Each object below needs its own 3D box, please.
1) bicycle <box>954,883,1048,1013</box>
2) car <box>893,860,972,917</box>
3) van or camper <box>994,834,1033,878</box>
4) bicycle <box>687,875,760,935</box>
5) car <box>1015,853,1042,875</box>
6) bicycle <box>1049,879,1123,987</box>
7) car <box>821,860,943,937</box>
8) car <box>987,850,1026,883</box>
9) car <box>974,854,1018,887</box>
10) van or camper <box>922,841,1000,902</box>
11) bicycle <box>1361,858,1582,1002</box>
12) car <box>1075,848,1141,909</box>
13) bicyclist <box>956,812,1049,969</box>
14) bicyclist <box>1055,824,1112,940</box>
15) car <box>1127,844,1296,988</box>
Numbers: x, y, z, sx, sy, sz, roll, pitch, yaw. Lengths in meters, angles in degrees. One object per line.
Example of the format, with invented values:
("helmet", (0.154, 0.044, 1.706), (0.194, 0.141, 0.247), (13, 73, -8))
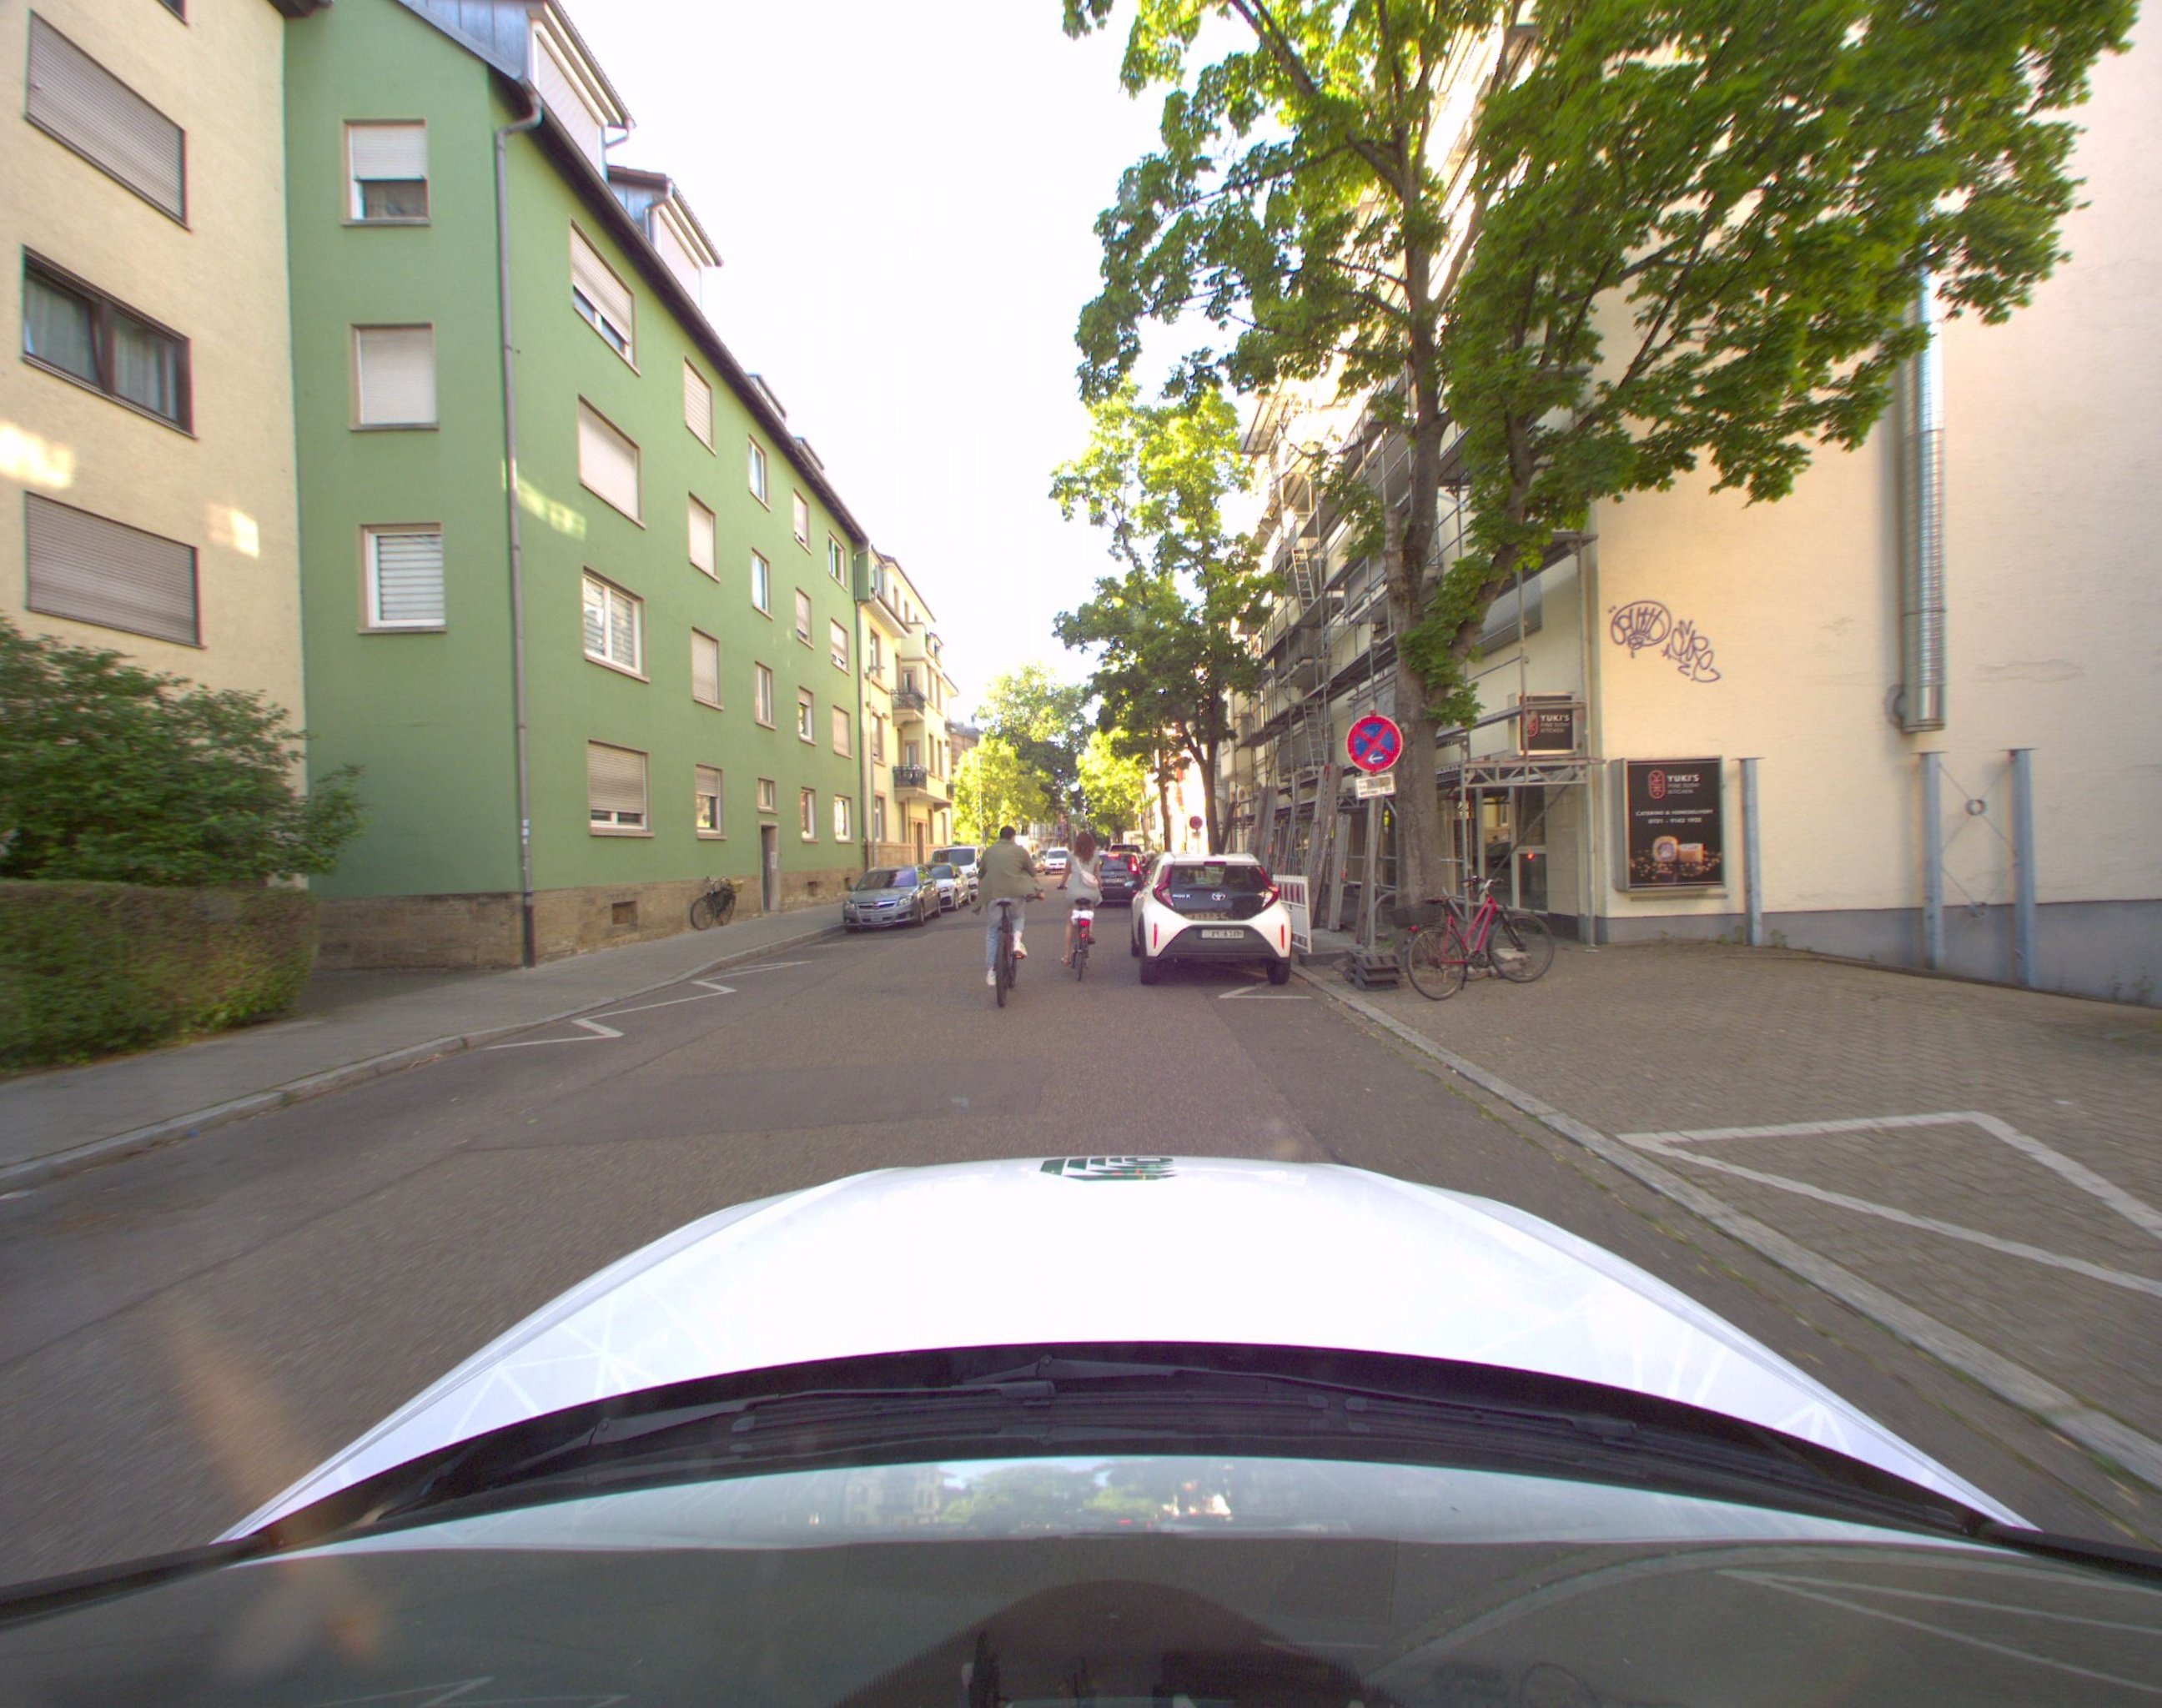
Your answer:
("bicycle", (-0.803, 0.922, 8.778), (0.837, 1.149, 2.230), (-2, -1, -3))
("car", (-4.415, 0.973, 24.677), (1.681, 1.453, 3.709), (-3, 0, -1))
("van or camper", (-4.285, 0.103, 52.278), (1.987, 2.553, 5.022), (-2, 0, 0))
("bicycle", (-7.915, 1.087, 18.150), (0.548, 1.178, 2.279), (1, 0, 2))
("car", (-4.035, 0.720, 63.412), (1.705, 1.560, 4.000), (-2, 0, 1))
("bicycle", (0.021, 0.932, 10.430), (0.837, 1.149, 2.231), (-1, 0, -2))
("car", (-4.643, 0.984, 19.681), (1.974, 1.455, 4.110), (-5, 0, -2))
("car", (-4.180, 0.656, 46.082), (1.705, 1.699, 4.000), (-2, 0, 1))
("car", (-4.244, 0.794, 41.251), (1.705, 1.504, 4.000), (-2, 0, 1))
("van or camper", (-4.420, 0.593, 30.751), (1.986, 2.013, 4.913), (-3, 0, 1))
("bicycle", (3.923, 0.711, 8.186), (1.985, 1.165, 0.722), (-5, 1, -18))
("car", (0.839, 0.643, 23.420), (1.548, 1.533, 3.493), (-2, 0, 7))
("bicyclist", (-0.822, 0.389, 8.722), (0.880, 1.562, 0.867), (-3, -3, -3))
("bicyclist", (0.026, 0.367, 10.324), (0.621, 1.381, 0.867), (-3, -4, -1))
("car", (1.519, 0.674, 10.613), (1.669, 1.545, 3.404), (-1, 0, 1))
